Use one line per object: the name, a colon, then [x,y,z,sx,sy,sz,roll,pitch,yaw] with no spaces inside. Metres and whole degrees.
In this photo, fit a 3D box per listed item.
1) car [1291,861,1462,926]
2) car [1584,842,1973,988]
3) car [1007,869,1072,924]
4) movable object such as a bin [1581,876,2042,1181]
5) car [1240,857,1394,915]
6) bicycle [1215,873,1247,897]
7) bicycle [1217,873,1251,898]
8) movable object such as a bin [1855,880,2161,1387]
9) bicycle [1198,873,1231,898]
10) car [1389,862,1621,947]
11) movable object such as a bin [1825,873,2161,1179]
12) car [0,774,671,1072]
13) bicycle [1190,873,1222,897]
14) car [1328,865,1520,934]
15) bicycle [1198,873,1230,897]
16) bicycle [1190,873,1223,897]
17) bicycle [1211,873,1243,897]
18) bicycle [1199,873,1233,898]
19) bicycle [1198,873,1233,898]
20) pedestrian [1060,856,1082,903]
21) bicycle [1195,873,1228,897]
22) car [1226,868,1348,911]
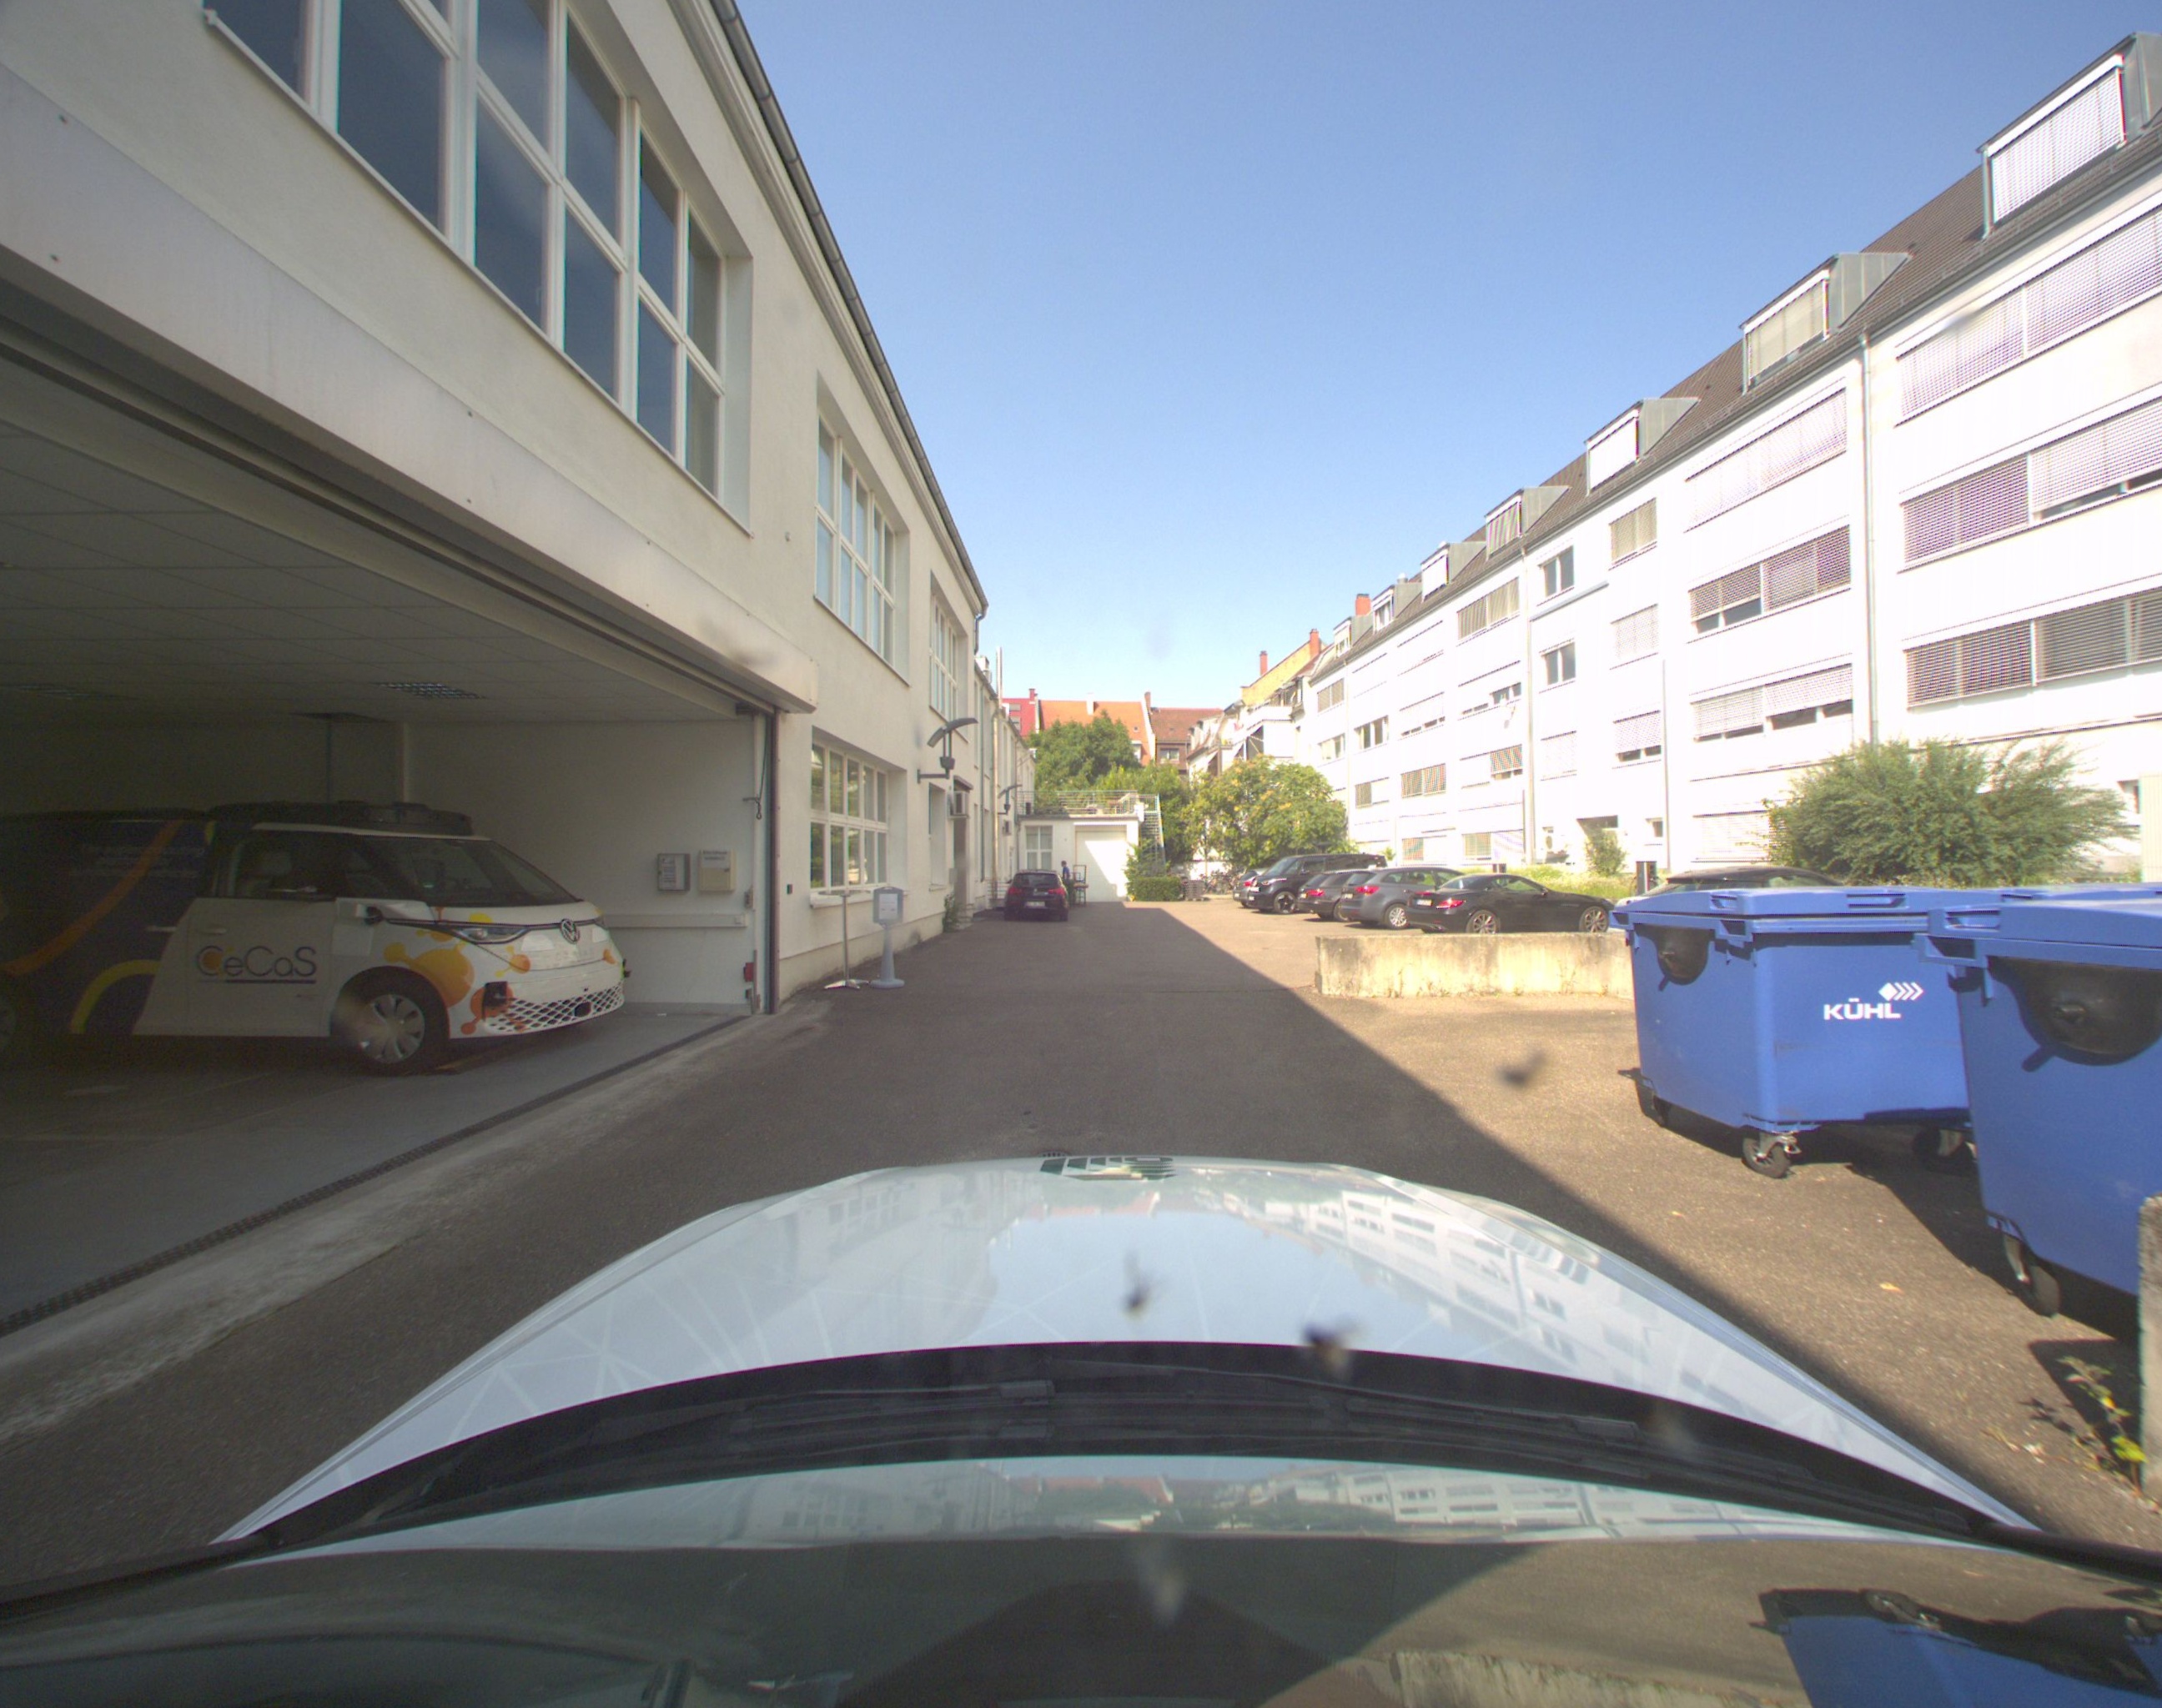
car: [8.089,1.082,22.526,4.105,1.692,1.770,0,-2,-2]
car: [9.150,0.772,10.930,3.608,1.545,1.802,-4,-2,-1]
car: [-1.137,1.196,23.723,1.683,1.459,3.921,0,-2,0]
movable object such as a bin: [3.599,0.788,4.208,1.296,1.340,1.194,0,-2,0]
car: [7.685,1.040,26.739,4.497,1.795,1.877,0,-2,-8]
bicycle: [7.760,1.614,42.133,1.611,1.214,0.425,-1,-2,14]
bicycle: [7.755,1.588,41.274,1.611,1.214,0.328,-1,-2,16]
movable object such as a bin: [3.514,0.753,2.456,1.305,1.340,1.099,0,-2,-2]
bicycle: [6.709,1.573,40.939,1.616,1.214,0.327,-1,-2,2]
car: [8.498,0.992,16.494,3.797,1.589,1.891,1,-2,-9]
movable object such as a bin: [4.920,0.776,4.147,1.229,1.340,1.118,0,-2,5]
car: [-6.421,0.511,6.932,4.729,2.093,2.056,1,-2,1]
bicycle: [6.621,1.637,43.067,1.620,1.214,0.423,-1,-2,-5]
car: [8.205,1.077,19.703,3.854,1.589,1.876,0,-2,-4]
bicycle: [6.757,1.587,41.389,1.612,1.214,0.328,-1,-2,11]
bicycle: [6.520,1.618,42.434,1.617,1.214,0.424,-1,-2,0]
bicycle: [7.843,1.663,43.735,1.611,1.214,0.425,-1,-2,13]
bicycle: [6.730,1.564,40.645,1.616,1.214,0.327,-1,-2,2]
bicycle: [6.655,1.554,40.325,1.616,1.214,0.327,-1,-2,2]
pedestrian: [-0.439,1.110,35.409,0.910,2.014,0.935,0,-2,1]
bicycle: [6.689,1.597,41.755,1.611,1.214,0.328,-1,-2,14]
car: [7.431,1.286,29.623,3.930,1.482,1.769,0,-2,-8]
